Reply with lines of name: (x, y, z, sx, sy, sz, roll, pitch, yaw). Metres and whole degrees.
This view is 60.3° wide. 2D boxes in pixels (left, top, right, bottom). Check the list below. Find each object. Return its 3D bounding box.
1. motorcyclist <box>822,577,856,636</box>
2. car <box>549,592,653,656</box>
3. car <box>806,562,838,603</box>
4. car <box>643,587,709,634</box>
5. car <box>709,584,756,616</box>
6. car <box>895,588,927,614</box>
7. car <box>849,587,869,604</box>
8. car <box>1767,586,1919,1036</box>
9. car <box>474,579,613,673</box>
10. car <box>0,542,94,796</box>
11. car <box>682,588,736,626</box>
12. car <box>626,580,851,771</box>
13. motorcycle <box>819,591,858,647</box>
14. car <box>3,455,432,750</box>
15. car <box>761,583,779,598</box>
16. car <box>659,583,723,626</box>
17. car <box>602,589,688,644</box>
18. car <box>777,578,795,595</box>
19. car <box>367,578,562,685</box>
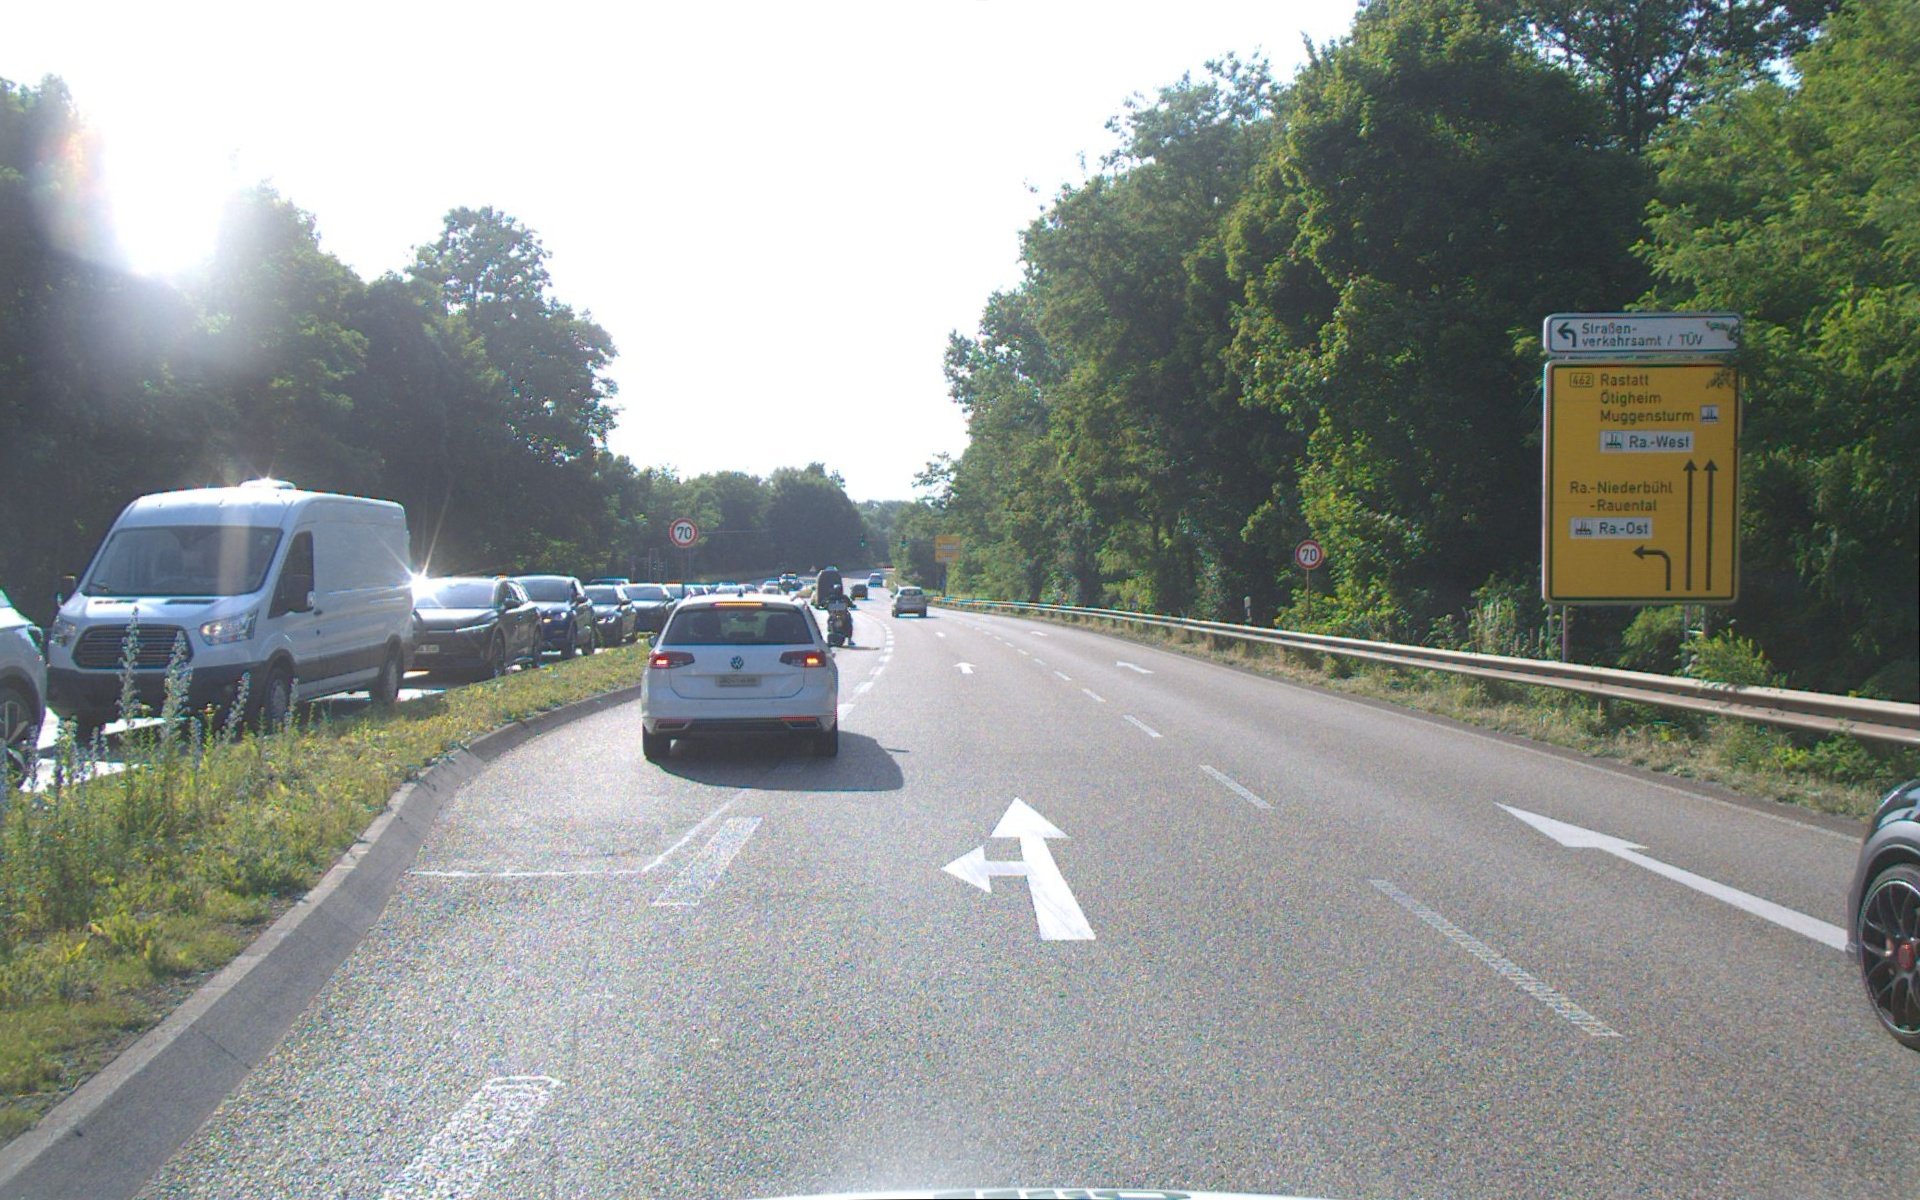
motorcyclist: (-3.459, 0.169, 47.460, 0.866, 1.644, 1.290, 2, 0, -1)
car: (-8.761, 0.541, 40.720, 1.736, 1.403, 4.841, -1, 1, -3)
car: (-10.205, -1.305, 122.819, 2.166, 2.939, 7.007, -1, 1, -3)
car: (-9.397, 0.320, 54.981, 1.673, 1.448, 4.209, -1, 1, -3)
car: (-10.854, -0.016, 79.096, 1.830, 1.442, 4.413, -1, 1, -3)
car: (-2.768, 0.035, 93.480, 1.726, 1.404, 3.970, 2, 1, -2)
car: (-9.965, -0.430, 163.056, 1.711, 1.564, 3.920, 2, 1, -7)
car: (4.166, 0.747, 4.563, 1.784, 1.493, 3.870, 2, 1, -4)
car: (-8.144, 0.444, 32.731, 1.736, 1.698, 4.798, -1, 1, -3)
car: (-7.041, 0.475, 9.739, 1.666, 1.660, 4.743, -1, 1, -4)
car: (-10.108, 0.271, 66.870, 1.732, 1.442, 4.432, -1, 1, -3)
car: (-2.066, 0.614, 16.402, 1.833, 1.548, 4.829, 2, 1, -5)
motorcycle: (-3.479, 0.526, 47.557, 0.890, 1.478, 2.688, -3, 1, -1)
car: (-7.521, -0.027, 17.664, 2.033, 2.578, 6.160, -1, 1, -3)
car: (-19.169, -0.938, 166.906, 1.753, 1.436, 4.222, 2, 1, -6)
car: (-9.811, 0.139, 60.627, 1.732, 1.448, 5.190, -1, 1, -3)
car: (-9.061, 0.444, 47.993, 1.736, 1.448, 5.190, -1, 1, -3)
car: (-19.766, -1.535, 187.788, 2.036, 1.794, 4.751, -1, 1, -6)
car: (-7.616, 0.406, 25.953, 1.725, 1.482, 5.183, -1, 1, -3)
